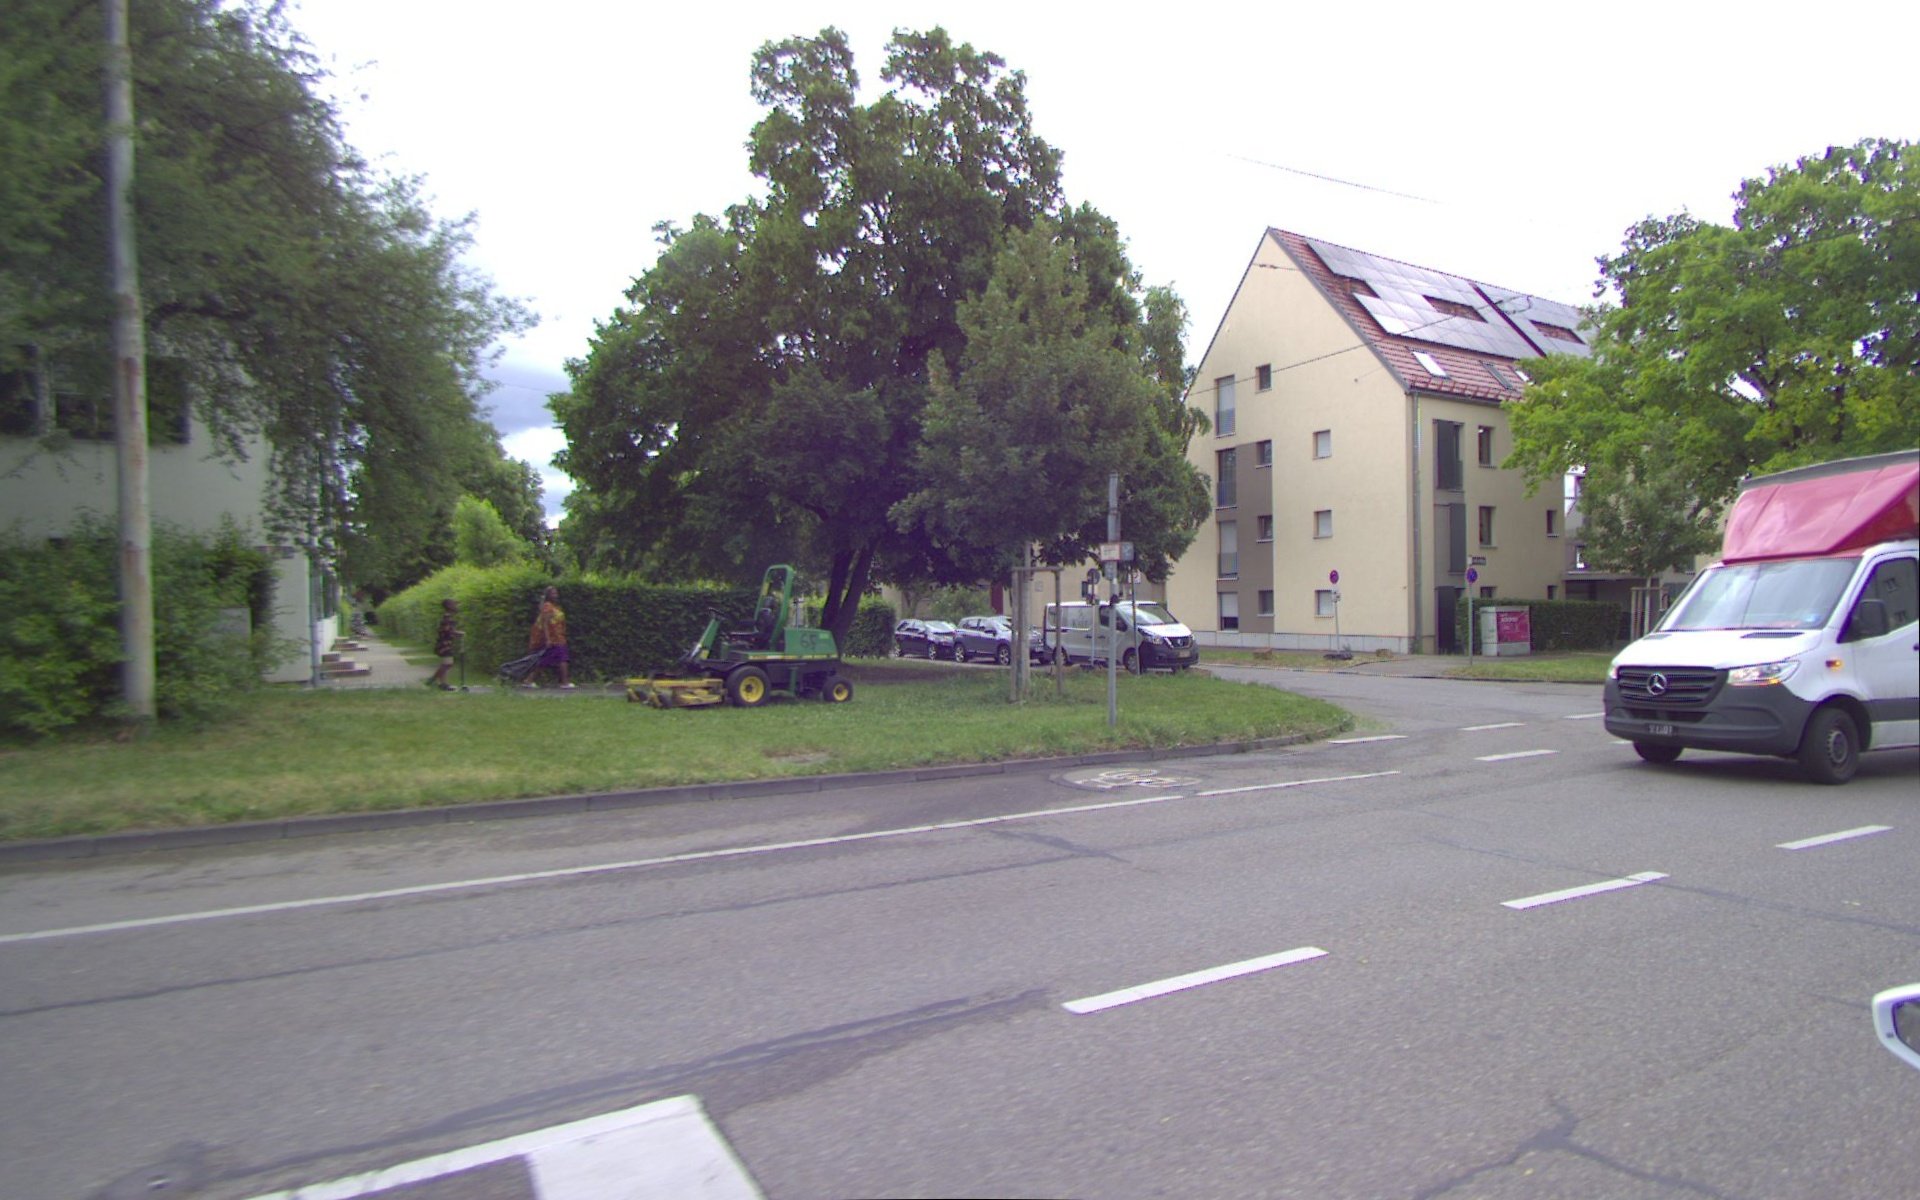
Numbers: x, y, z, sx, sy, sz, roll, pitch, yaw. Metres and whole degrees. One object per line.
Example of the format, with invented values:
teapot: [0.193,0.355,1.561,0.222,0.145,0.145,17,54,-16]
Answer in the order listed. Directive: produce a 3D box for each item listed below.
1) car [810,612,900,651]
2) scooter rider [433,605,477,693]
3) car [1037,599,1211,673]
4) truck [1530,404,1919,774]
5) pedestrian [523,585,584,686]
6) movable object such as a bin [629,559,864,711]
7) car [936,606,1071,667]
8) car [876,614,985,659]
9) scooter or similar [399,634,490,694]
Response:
car: [-4.543,1.290,42.720,1.978,1.499,4.636,1,-1,-32]
scooter rider: [-7.557,0.728,15.040,0.553,1.293,0.349,1,0,-30]
car: [4.424,0.934,27.865,1.978,1.837,4.965,1,-1,-32]
truck: [10.311,-0.034,11.106,7.124,3.351,2.534,1,-1,-12]
pedestrian: [-6.768,0.585,16.726,0.821,1.635,0.626,1,0,-33]
movable object such as a bin: [-2.966,0.478,14.091,2.990,1.929,1.211,1,0,-30]
car: [1.329,1.143,33.020,1.978,1.784,4.895,1,-1,-32]
car: [-1.169,1.306,37.286,1.978,1.499,4.636,1,-1,-32]
scooter or similar: [-7.681,0.941,14.981,1.187,0.854,0.324,1,0,-31]
